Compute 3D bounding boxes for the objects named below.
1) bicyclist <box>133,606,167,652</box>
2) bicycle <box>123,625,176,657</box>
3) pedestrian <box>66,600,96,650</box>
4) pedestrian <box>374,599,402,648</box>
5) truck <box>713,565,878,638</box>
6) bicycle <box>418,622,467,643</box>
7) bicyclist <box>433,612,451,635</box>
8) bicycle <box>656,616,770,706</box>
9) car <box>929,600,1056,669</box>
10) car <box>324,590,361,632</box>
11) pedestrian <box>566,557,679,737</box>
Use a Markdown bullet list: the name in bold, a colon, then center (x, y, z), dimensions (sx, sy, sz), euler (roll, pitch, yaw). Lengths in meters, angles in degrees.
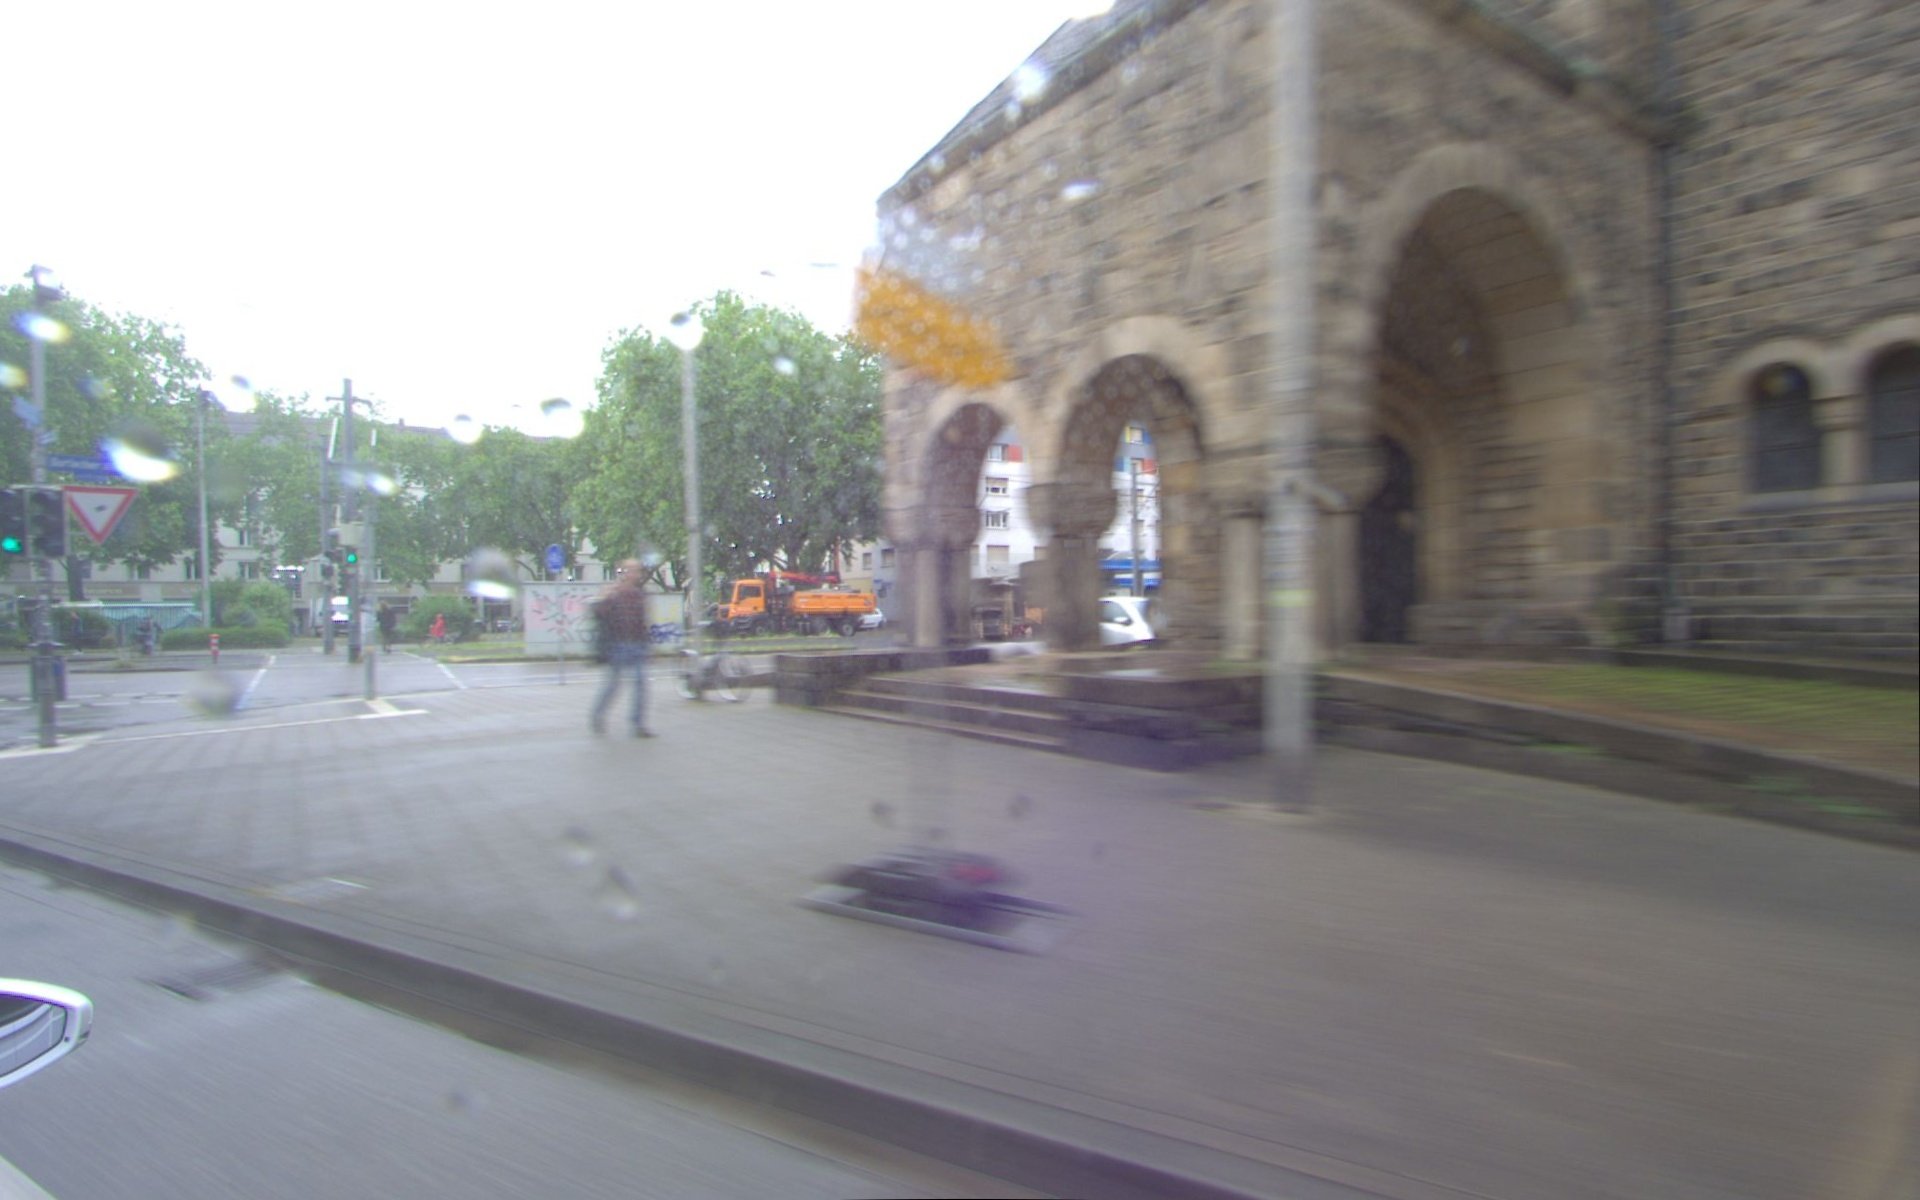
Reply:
- **bicyclist**: center (-29.413, 1.052, 36.365), dimensions (0.677, 1.639, 0.881), euler (-2, 1, -22)
- **bicycle**: center (-29.397, 1.481, 36.359), dimensions (0.682, 1.035, 2.649), euler (-2, 1, -22)
- **pedestrian**: center (-36.986, 1.046, 42.129), dimensions (0.796, 2.040, 0.586), euler (-1, 1, -31)
- **pedestrian**: center (-19.969, 0.817, 34.982), dimensions (0.775, 1.668, 0.651), euler (-2, 1, -33)
- **truck**: center (-8.497, 0.058, 52.566), dimensions (8.326, 3.571, 2.361), euler (-1, 0, -34)
- **bicycle**: center (-23.788, 1.482, 46.079), dimensions (1.947, 0.923, 0.556), euler (-1, 0, -34)
- **bicyclist**: center (-23.824, 1.063, 46.051), dimensions (0.672, 1.039, 0.556), euler (-1, 1, -34)
- **bicycle**: center (-3.443, 0.807, 13.853), dimensions (2.049, 1.169, 0.327), euler (-1, 1, 38)
- **car**: center (0.699, 0.762, 23.413), dimensions (1.388, 1.499, 3.200), euler (-1, 0, -33)
- **car**: center (-39.966, 0.688, 64.787), dimensions (1.887, 2.589, 4.757), euler (-1, 0, -33)
- **pedestrian**: center (-3.552, 0.462, 10.526), dimensions (0.780, 1.783, 0.936), euler (-2, 1, -42)
